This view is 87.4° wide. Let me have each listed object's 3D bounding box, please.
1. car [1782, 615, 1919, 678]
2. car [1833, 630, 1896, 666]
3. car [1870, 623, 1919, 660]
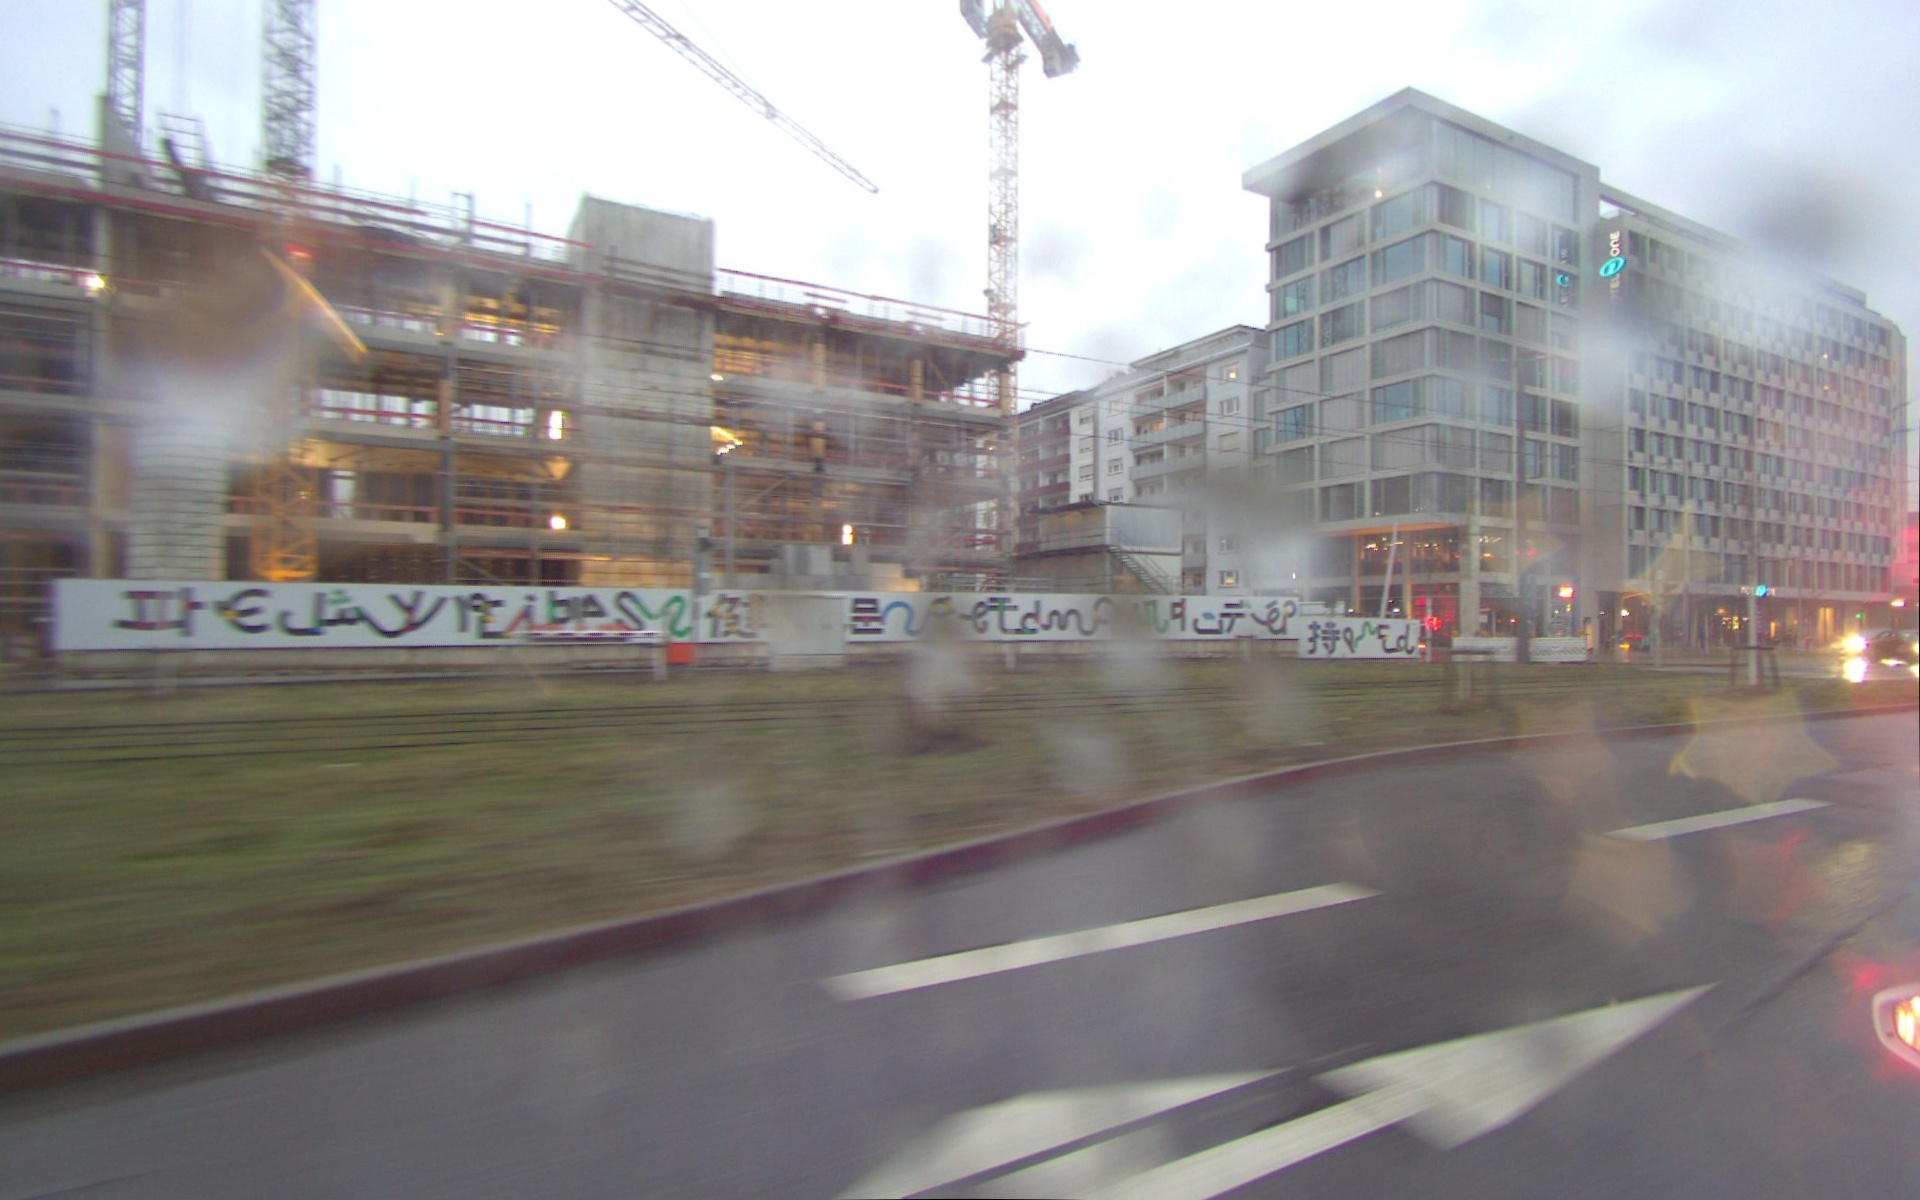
[{"bbox_3d":[30.759,1.560,34.436,3.942,2.001,1.989,0,-1,42],"label":"car"},{"bbox_3d":[45.094,2.356,50.062,4.000,1.662,1.842,1,-1,-41],"label":"car"},{"bbox_3d":[40.288,1.740,42.089,1.709,1.512,3.545,1,-1,13],"label":"car"}]
